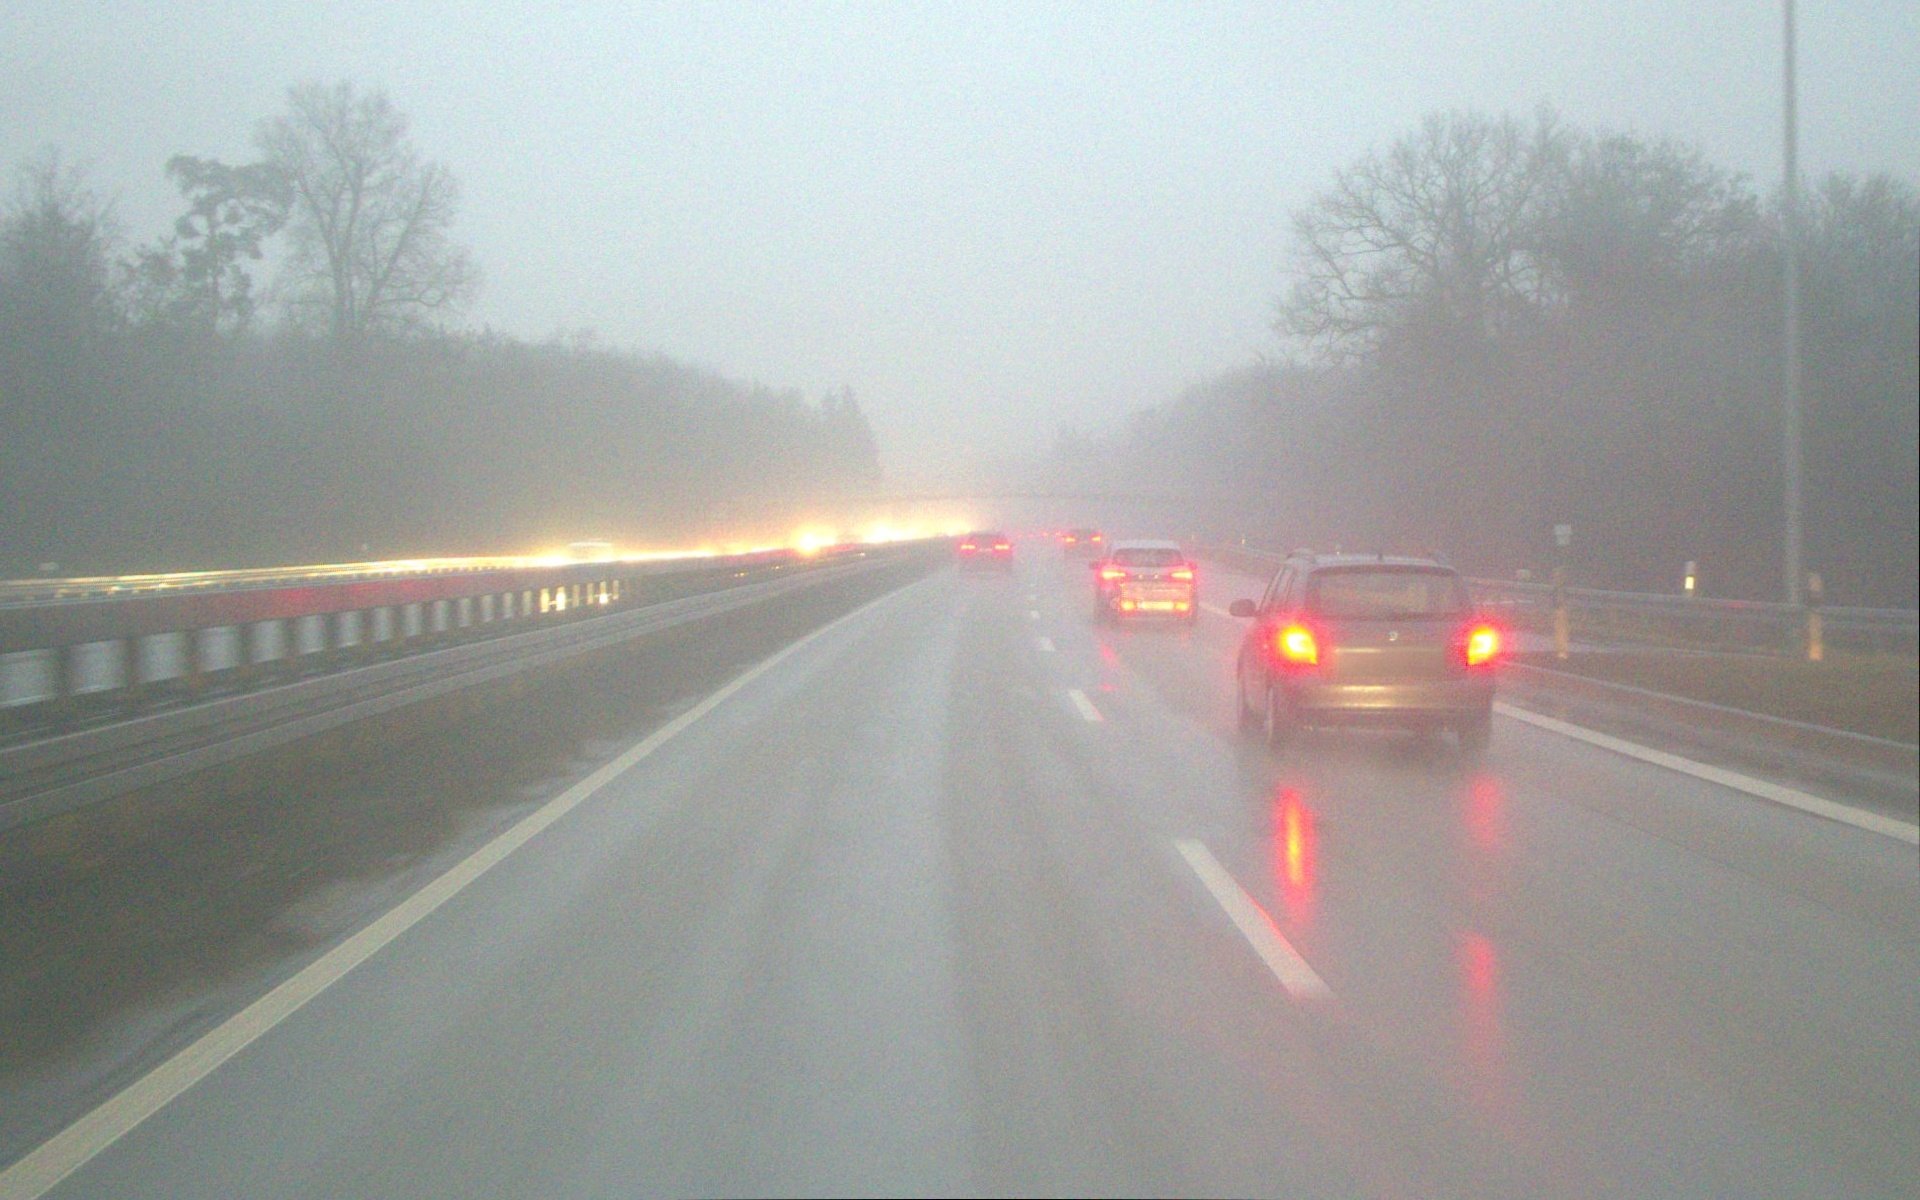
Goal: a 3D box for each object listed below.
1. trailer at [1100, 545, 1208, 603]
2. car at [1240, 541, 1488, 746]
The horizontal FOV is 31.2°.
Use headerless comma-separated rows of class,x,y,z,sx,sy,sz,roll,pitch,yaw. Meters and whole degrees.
trailer,3.345,-0.461,59.710,1.748,0.922,2.951,-1,1,1
car,3.105,0.285,26.990,1.594,1.485,3.594,0,1,1
